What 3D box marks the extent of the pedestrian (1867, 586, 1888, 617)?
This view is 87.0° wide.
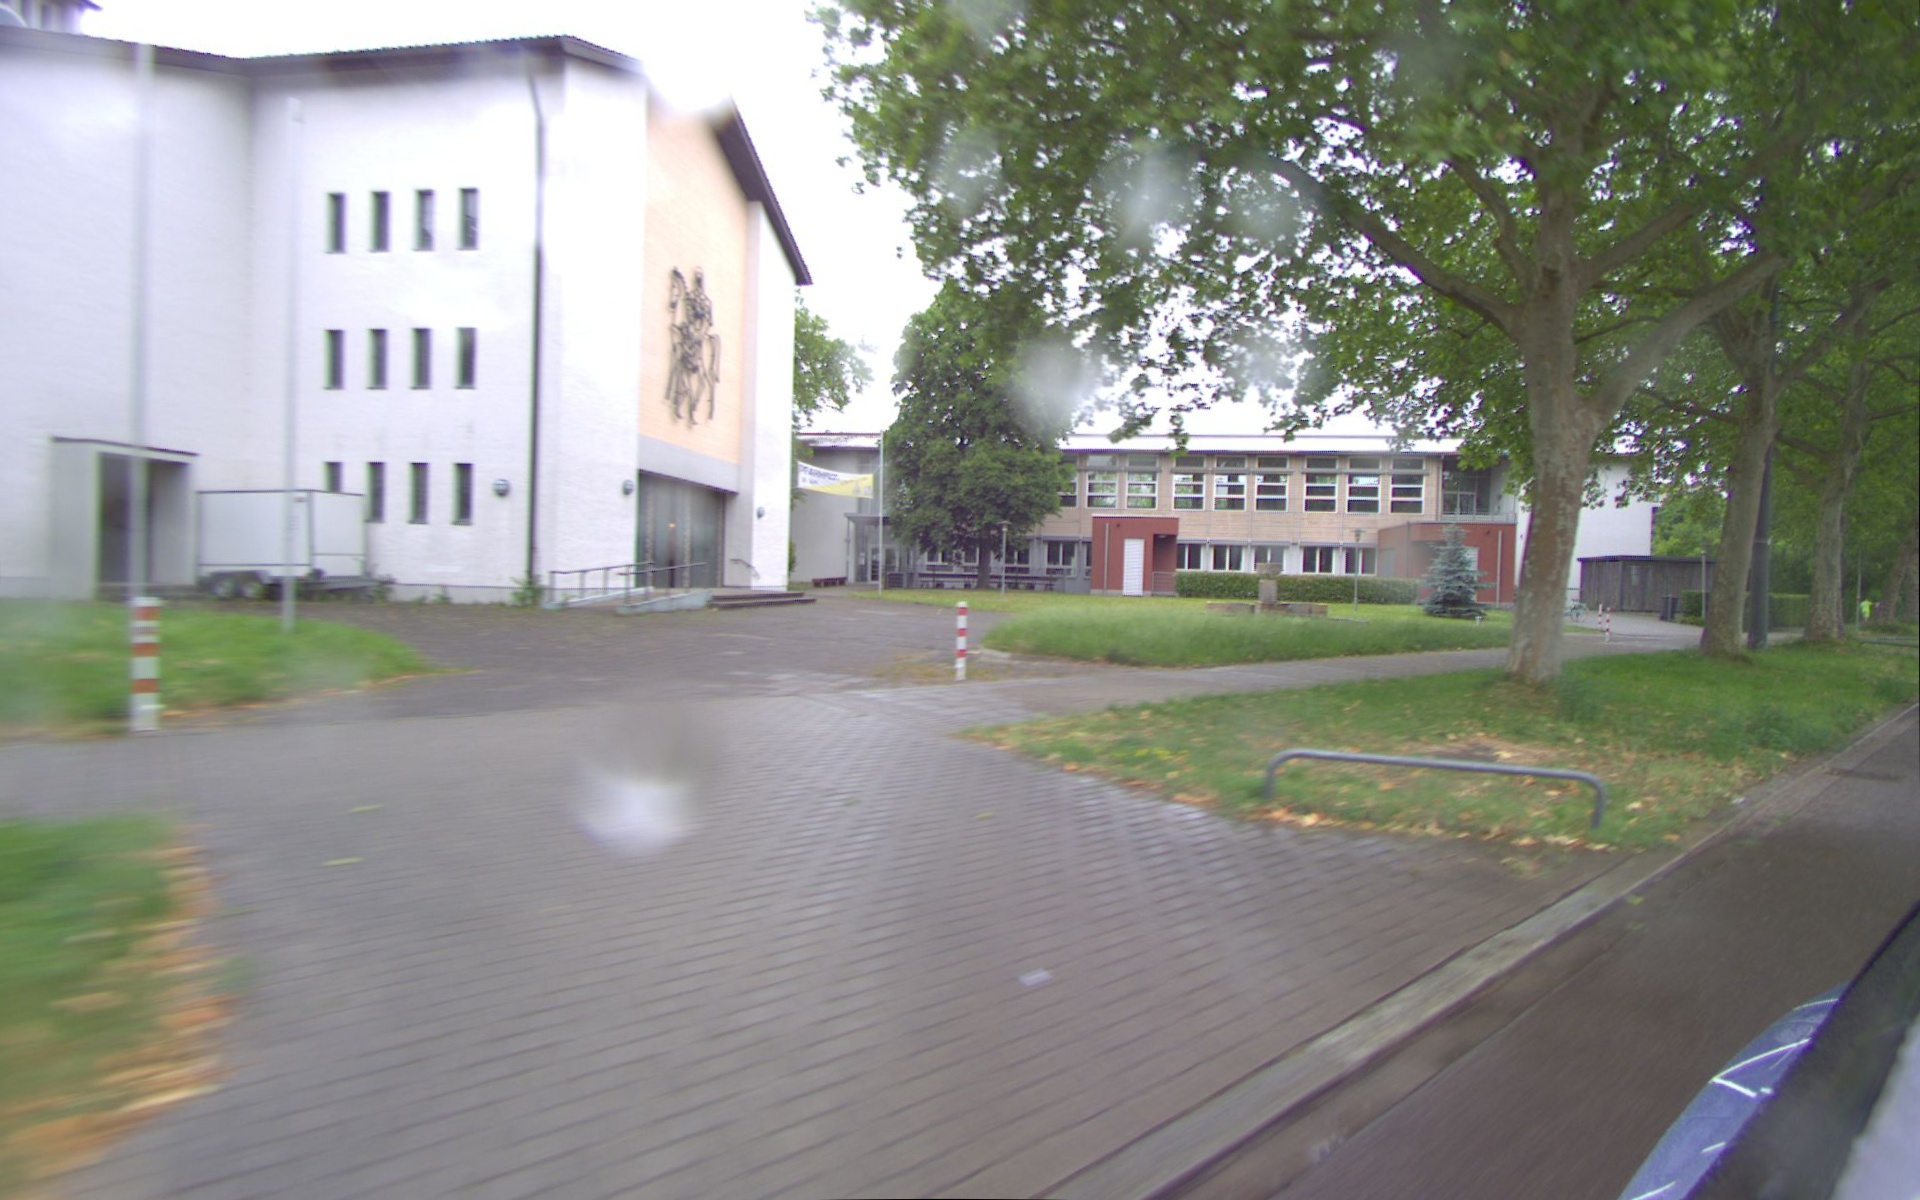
[{"bbox_3d":[48.717,0.076,53.734,0.575,1.557,0.747,1,2,-42],"label":"pedestrian"}]

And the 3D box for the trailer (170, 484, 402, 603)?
[{"bbox_3d":[-14.484,-1.215,21.856,3.955,2.337,1.887,2,1,10],"label":"trailer"}]

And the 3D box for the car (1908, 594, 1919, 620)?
[{"bbox_3d":[57.328,0.495,58.022,3.983,1.505,1.622,3,2,30],"label":"car"}]

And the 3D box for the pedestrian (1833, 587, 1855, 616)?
[{"bbox_3d":[47.749,0.070,54.661,0.575,1.557,0.747,1,2,-42],"label":"pedestrian"}]

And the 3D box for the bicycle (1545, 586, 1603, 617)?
[{"bbox_3d":[24.449,0.063,40.328,1.902,1.135,0.521,3,3,2],"label":"bicycle"}]

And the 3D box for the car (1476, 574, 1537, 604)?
[{"bbox_3d":[28.168,-0.608,52.256,1.721,1.469,3.572,1,2,10],"label":"car"}]
